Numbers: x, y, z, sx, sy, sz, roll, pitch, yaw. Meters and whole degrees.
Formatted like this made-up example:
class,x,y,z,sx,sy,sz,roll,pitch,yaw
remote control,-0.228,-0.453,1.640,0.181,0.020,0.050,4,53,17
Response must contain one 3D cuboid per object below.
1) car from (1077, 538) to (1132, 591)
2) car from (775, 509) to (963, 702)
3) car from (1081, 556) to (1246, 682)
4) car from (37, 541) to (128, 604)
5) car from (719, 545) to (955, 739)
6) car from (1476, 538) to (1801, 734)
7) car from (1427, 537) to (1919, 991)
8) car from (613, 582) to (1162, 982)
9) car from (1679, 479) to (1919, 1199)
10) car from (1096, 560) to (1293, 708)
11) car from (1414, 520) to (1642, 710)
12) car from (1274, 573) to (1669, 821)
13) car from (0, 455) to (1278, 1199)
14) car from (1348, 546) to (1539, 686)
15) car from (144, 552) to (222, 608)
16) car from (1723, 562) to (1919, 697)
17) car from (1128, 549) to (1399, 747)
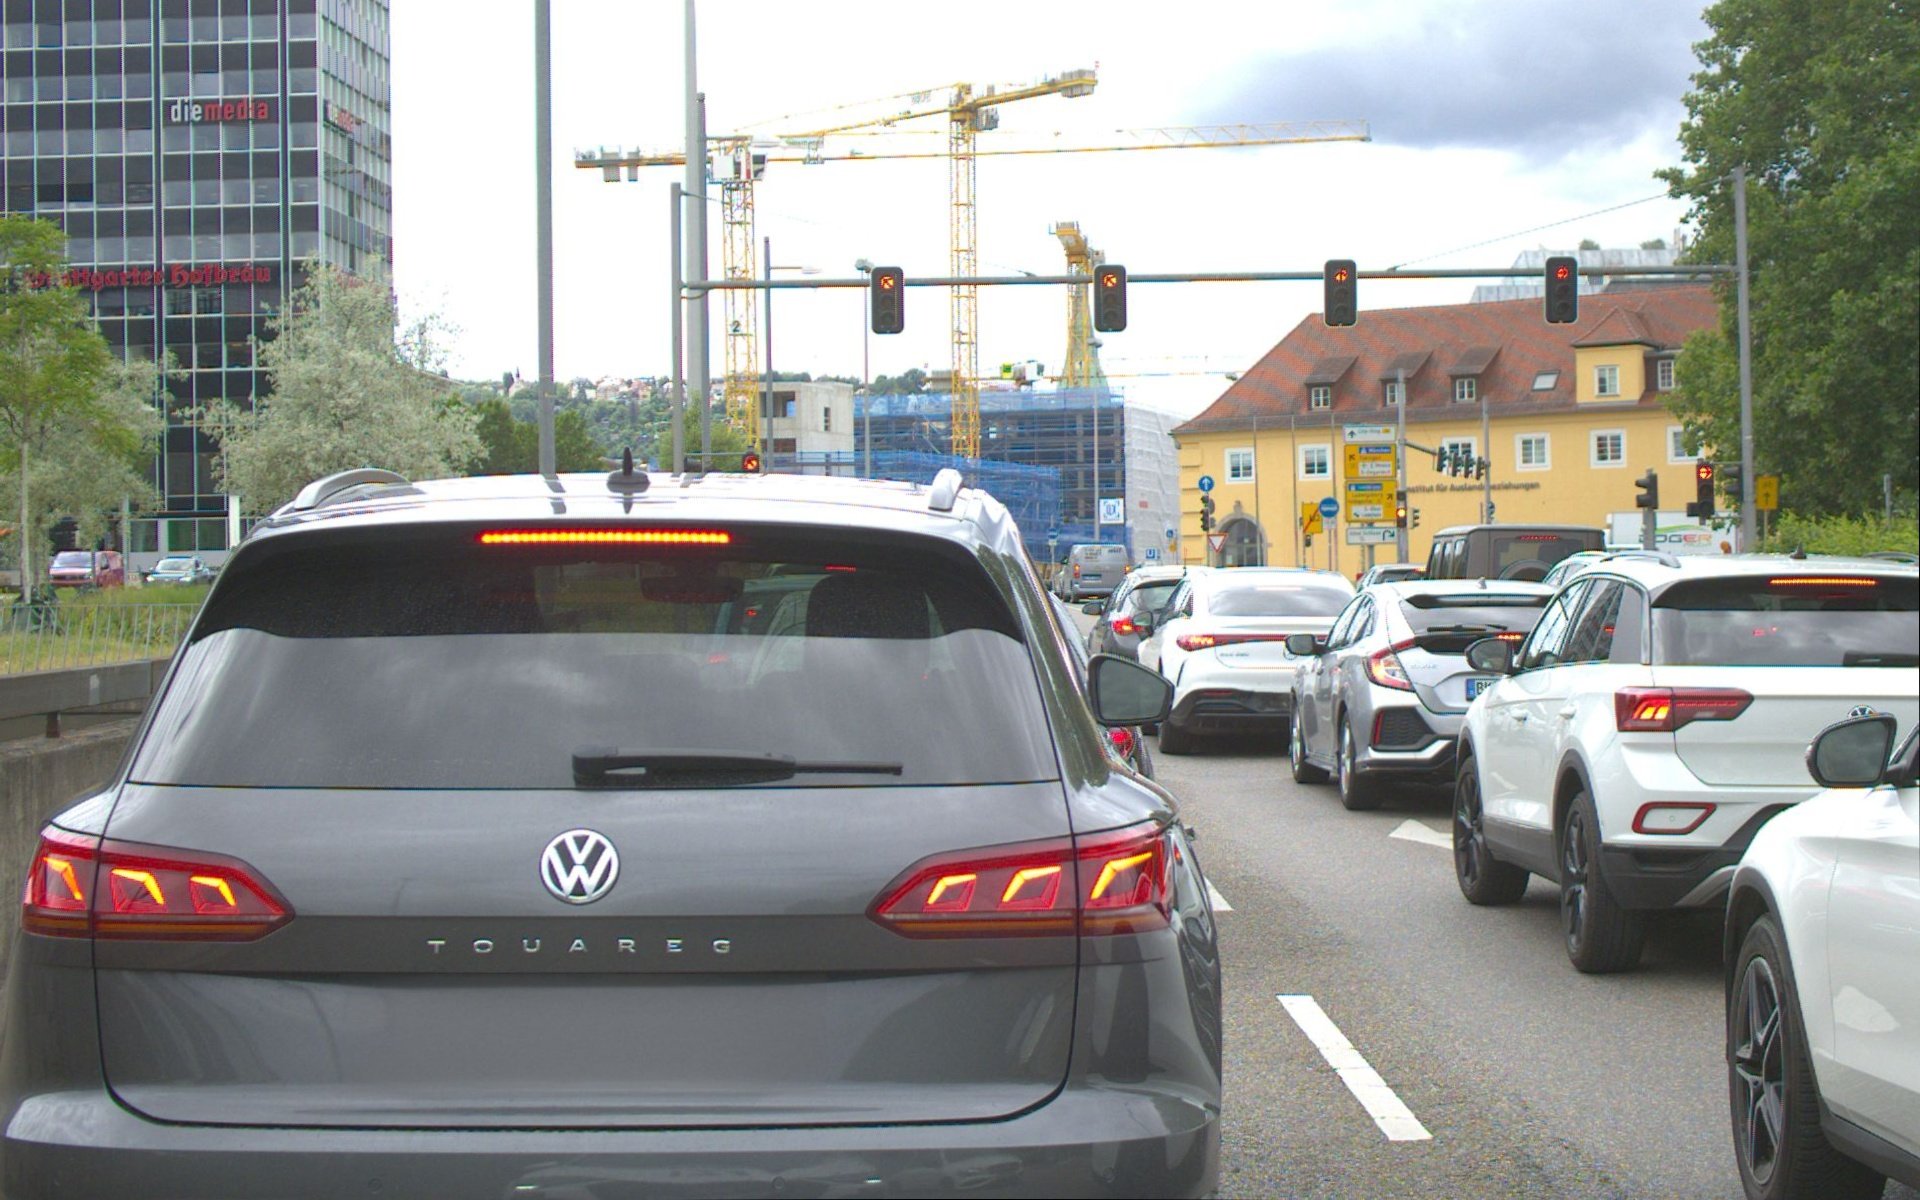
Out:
class,x,y,z,sx,sy,sz,roll,pitch,yaw
car,4.662,-1.132,111.359,1.619,1.622,4.000,1,-1,0
car,-0.996,0.038,38.569,1.951,2.011,3.931,1,1,-1
car,2.558,0.231,44.041,1.926,1.524,4.047,0,0,1
car,-29.833,-0.970,117.006,1.993,2.006,4.692,0,2,-1
car,-1.068,0.332,31.037,1.951,1.594,3.931,1,1,-1
car,6.298,0.280,32.402,1.993,1.634,4.305,0,2,-3
car,3.147,0.558,13.988,1.926,1.545,4.489,0,0,1
car,-0.291,0.650,14.409,1.951,1.379,3.931,1,1,-1
car,2.714,0.605,6.221,1.926,1.648,4.490,0,1,1
car,2.513,0.352,37.754,1.926,1.524,4.047,0,0,1
car,6.395,0.159,39.120,1.910,2.007,4.012,1,0,0
car,3.174,0.557,22.208,1.926,1.427,4.489,0,0,1
car,-0.574,0.605,6.672,1.951,1.646,4.000,0,1,-1
car,6.231,0.192,44.701,1.910,1.691,4.012,1,0,0
car,-29.890,-0.806,132.451,1.993,2.006,4.692,0,2,-1
car,10.222,0.345,40.103,1.932,1.455,4.526,1,0,4
car,2.466,0.365,28.933,1.926,1.524,4.489,0,0,1
